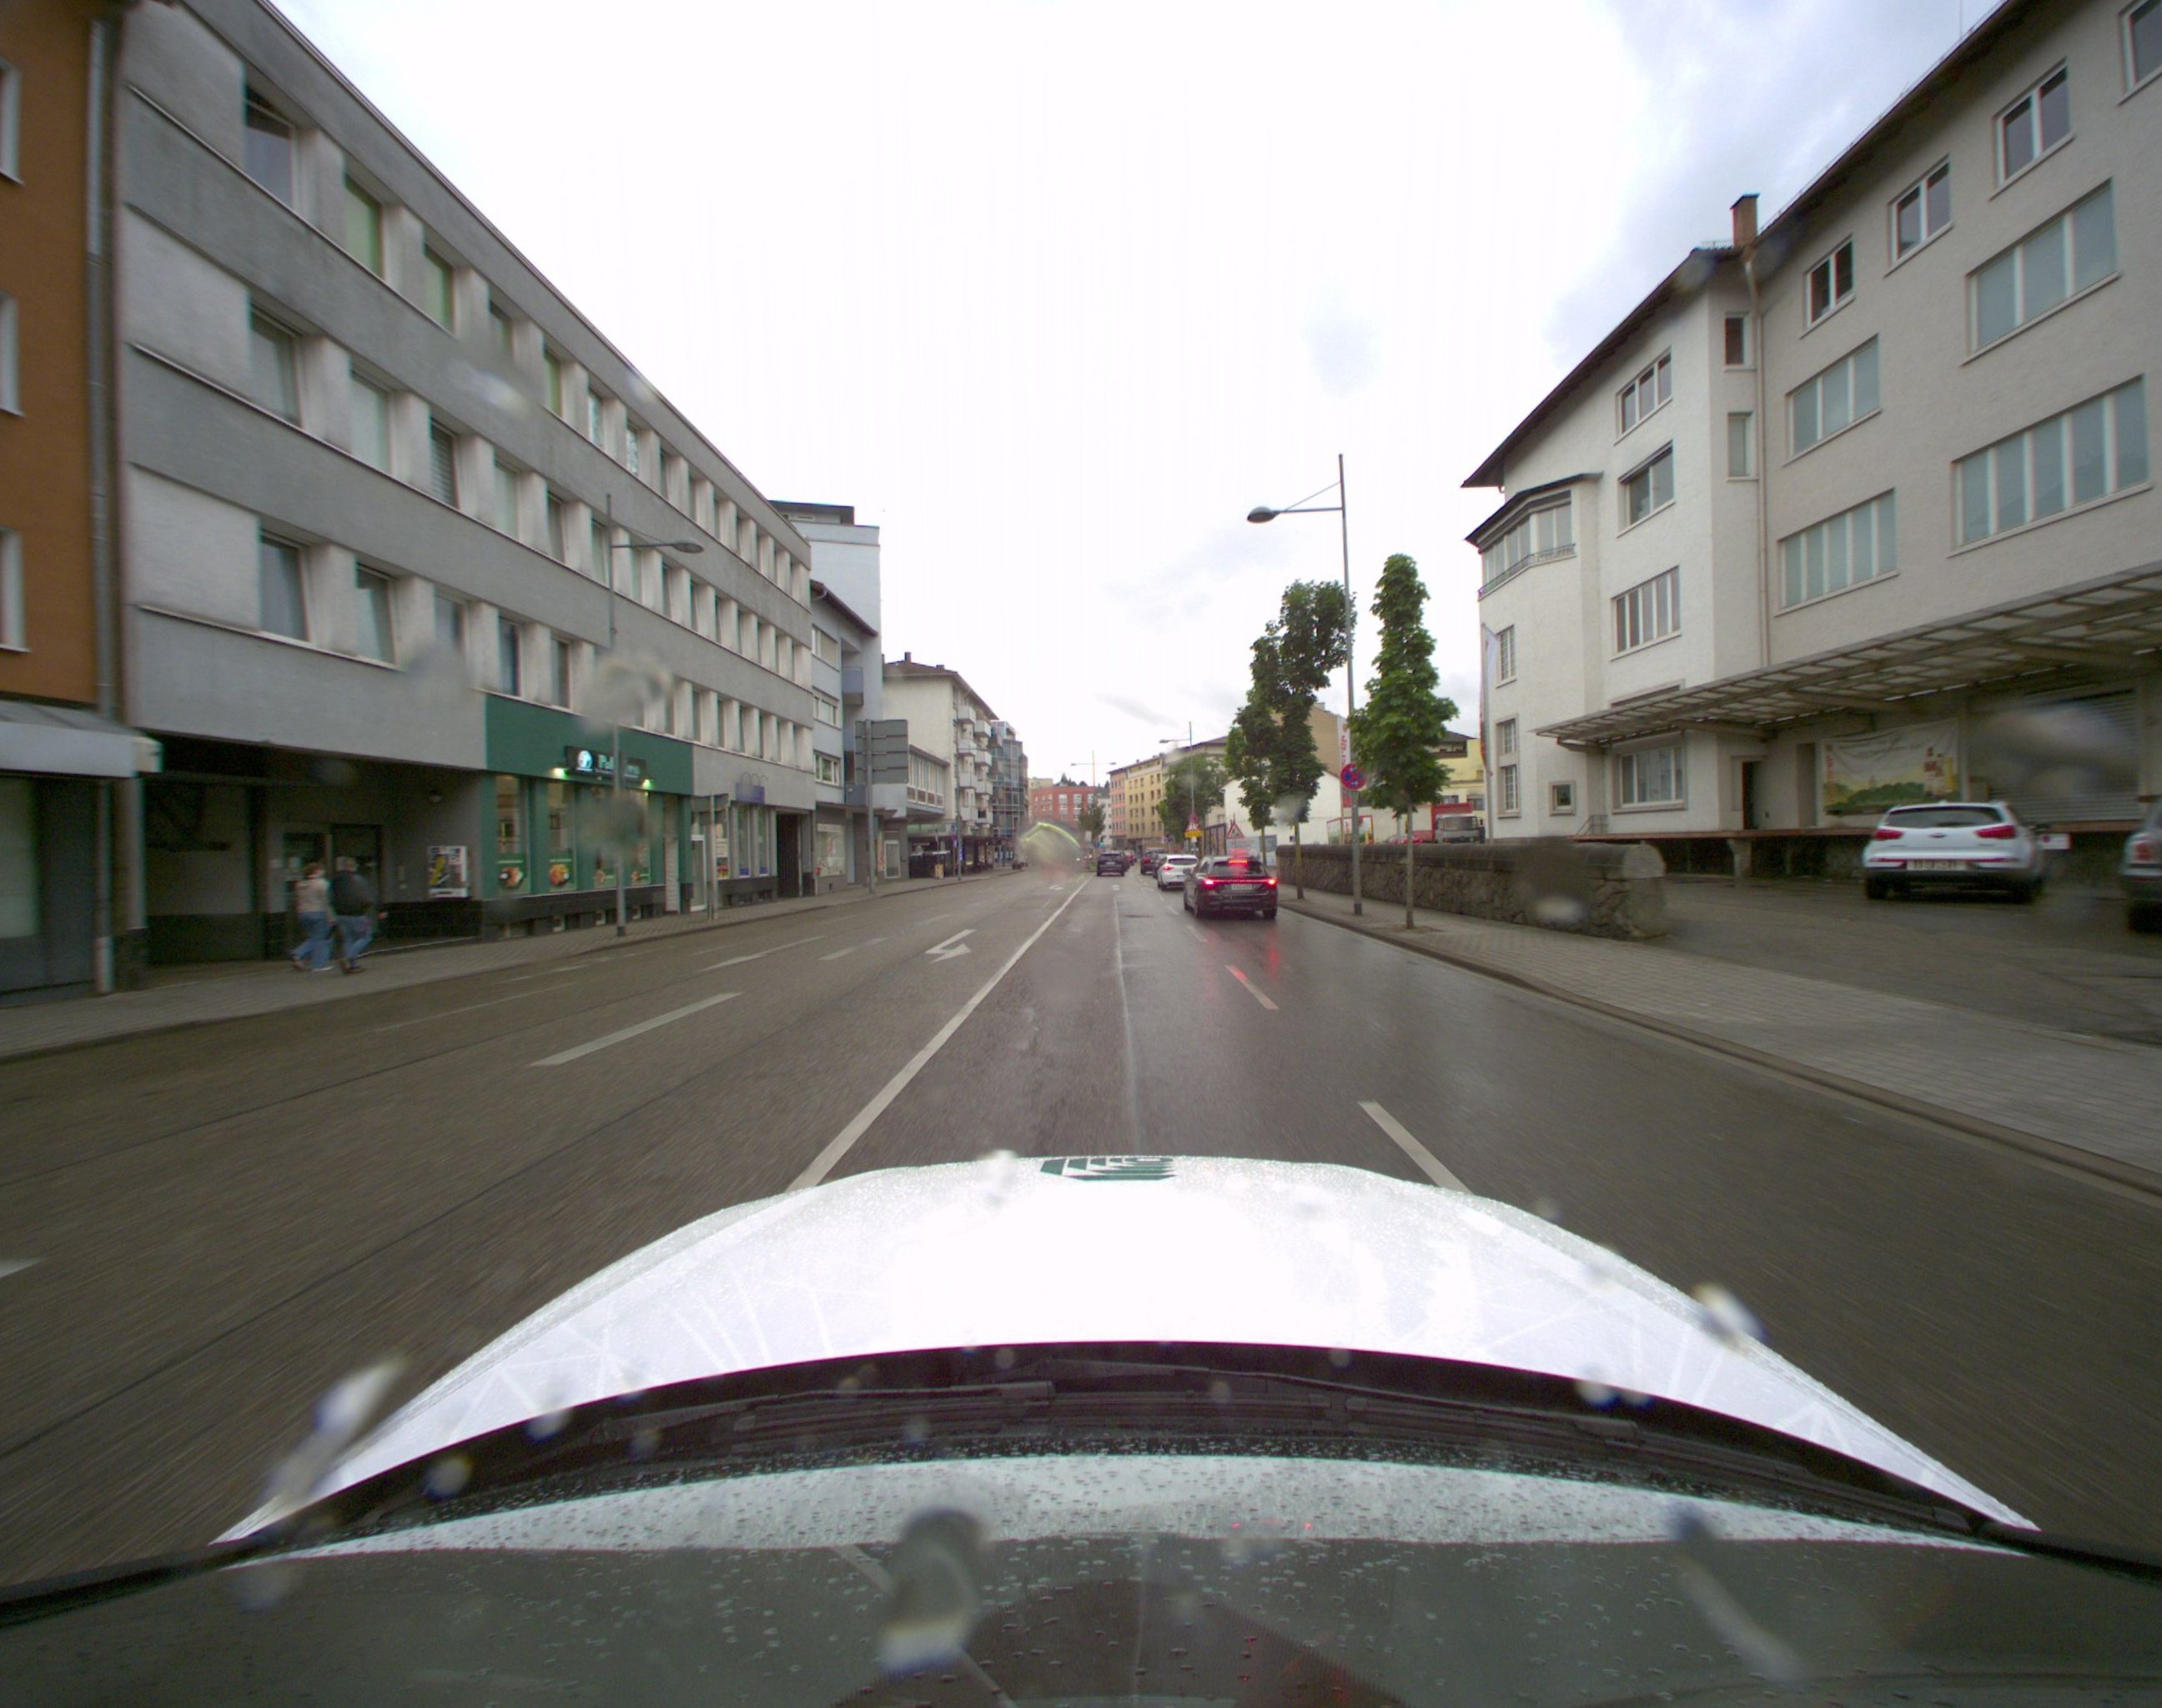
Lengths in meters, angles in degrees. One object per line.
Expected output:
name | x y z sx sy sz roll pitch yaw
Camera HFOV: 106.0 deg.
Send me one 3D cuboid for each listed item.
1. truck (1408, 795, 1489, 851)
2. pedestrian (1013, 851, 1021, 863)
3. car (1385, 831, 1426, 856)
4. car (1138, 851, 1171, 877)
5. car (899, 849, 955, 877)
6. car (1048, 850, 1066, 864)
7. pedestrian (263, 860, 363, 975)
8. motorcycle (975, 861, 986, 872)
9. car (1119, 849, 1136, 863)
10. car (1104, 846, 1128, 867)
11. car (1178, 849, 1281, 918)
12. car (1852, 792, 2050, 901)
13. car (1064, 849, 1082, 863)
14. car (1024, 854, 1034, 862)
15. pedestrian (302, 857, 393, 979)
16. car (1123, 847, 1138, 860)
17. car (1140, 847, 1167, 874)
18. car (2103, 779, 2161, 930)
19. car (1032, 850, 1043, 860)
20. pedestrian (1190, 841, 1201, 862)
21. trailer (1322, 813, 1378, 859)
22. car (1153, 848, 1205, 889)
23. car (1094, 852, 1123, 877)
truck | 23.624 -1.925 52.727 2.618 3.215 6.943 -4 0 7
pedestrian | -8.360 0.394 106.470 0.786 1.591 0.755 -3 0 -34
car | 20.857 -0.669 52.422 1.581 1.456 3.271 -3 0 7
car | 4.283 0.564 47.297 1.777 1.400 3.725 -1 0 6
car | -11.998 0.671 63.464 3.947 2.034 1.581 -2 0 2
car | -2.920 0.370 101.536 1.701 1.467 4.833 -5 0 3
pedestrian | -11.879 0.951 12.626 0.627 1.675 0.909 2 0 2
motorcycle | -9.090 1.103 73.566 0.523 0.995 2.139 0 0 4
car | 4.941 0.163 86.903 1.635 1.381 3.349 -4 0 1
car | 2.821 0.190 64.624 1.815 1.600 3.722 0 0 3
car | 3.526 0.631 20.108 1.783 1.403 4.636 -3 0 2
car | 14.690 -0.136 13.694 4.000 1.568 1.905 -1 0 -38
car | -0.890 0.224 95.636 1.713 1.423 4.168 -5 0 3
car | -9.012 0.683 140.658 1.454 1.430 3.360 0 1 -8
pedestrian | -11.242 0.947 12.506 0.572 1.788 0.827 2 0 3
car | 5.978 -0.068 98.411 1.635 1.381 3.349 -4 0 1
car | 5.051 0.417 56.916 1.822 1.805 3.723 0 1 4
car | 13.425 -0.108 9.359 4.016 1.582 1.753 -4 2 -34
car | -6.846 0.166 129.016 1.548 1.570 3.340 0 0 -6
pedestrian | 10.001 -0.221 71.009 0.785 1.755 0.875 -3 0 16
trailer | 17.672 -1.208 53.813 2.117 2.716 5.399 -5 1 5
car | 3.992 0.550 33.704 1.659 1.396 3.869 -6 1 2
car | 1.859 0.689 54.482 1.815 1.600 3.722 0 0 3
